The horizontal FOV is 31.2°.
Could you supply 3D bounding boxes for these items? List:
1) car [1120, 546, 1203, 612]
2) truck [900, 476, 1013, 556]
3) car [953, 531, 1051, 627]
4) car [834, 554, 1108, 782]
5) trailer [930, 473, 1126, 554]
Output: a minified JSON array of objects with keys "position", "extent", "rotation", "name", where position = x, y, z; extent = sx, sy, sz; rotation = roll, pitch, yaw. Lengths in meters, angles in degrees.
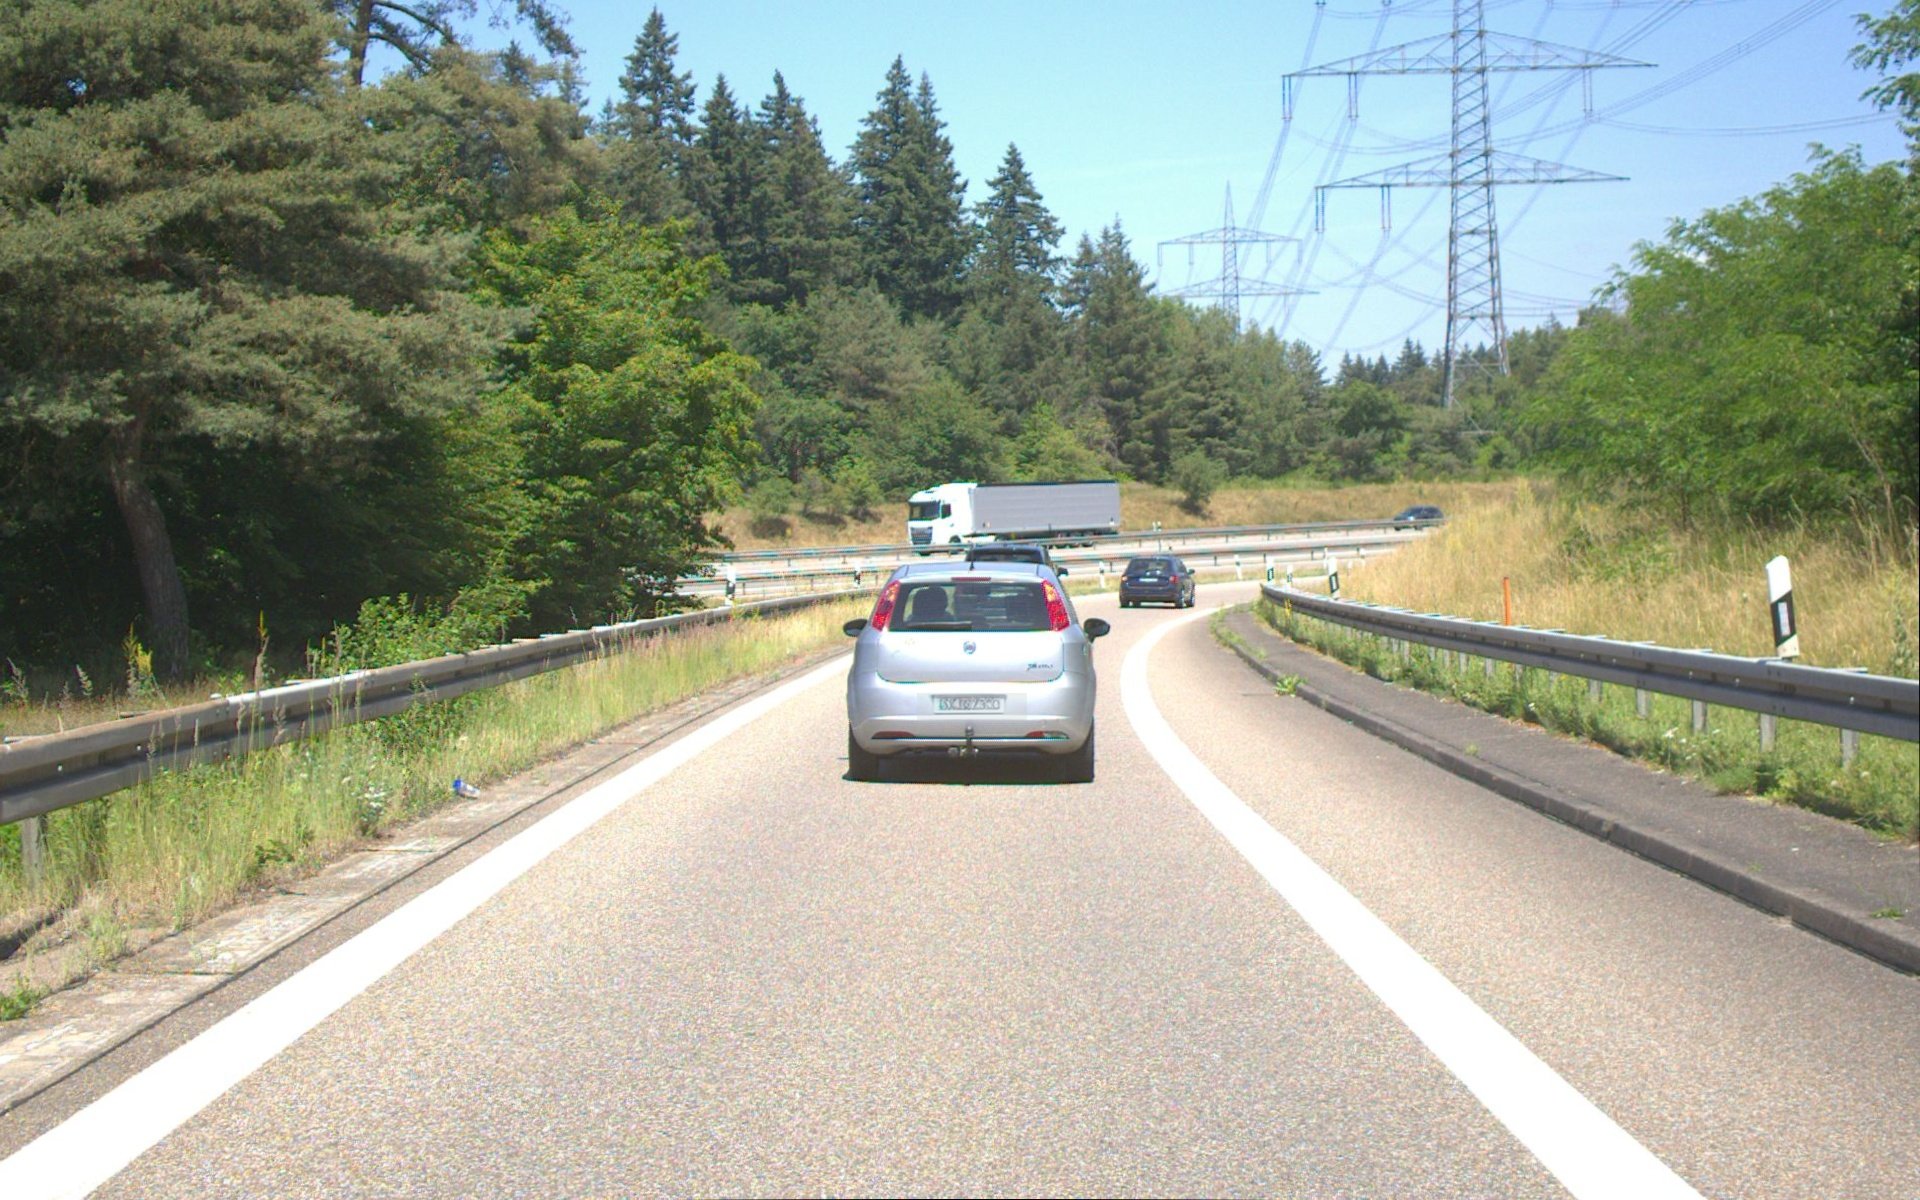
[{"position":[5.671,-0.603,96.293],"extent":[1.882,1.678,3.999],"rotation":[-3,1,9],"name":"car"},{"position":[-0.195,-4.878,198.241],"extent":[2.946,4.377,6.256],"rotation":[-1,1,41],"name":"truck"},{"position":[0.739,-0.411,62.575],"extent":[1.706,1.670,3.398],"rotation":[0,2,-1],"name":"car"},{"position":[0.010,0.451,24.017],"extent":[1.706,1.477,3.398],"rotation":[0,0,-3],"name":"car"},{"position":[4.151,-5.175,203.190],"extent":[2.931,4.372,14.264],"rotation":[-1,1,41],"name":"trailer"}]
